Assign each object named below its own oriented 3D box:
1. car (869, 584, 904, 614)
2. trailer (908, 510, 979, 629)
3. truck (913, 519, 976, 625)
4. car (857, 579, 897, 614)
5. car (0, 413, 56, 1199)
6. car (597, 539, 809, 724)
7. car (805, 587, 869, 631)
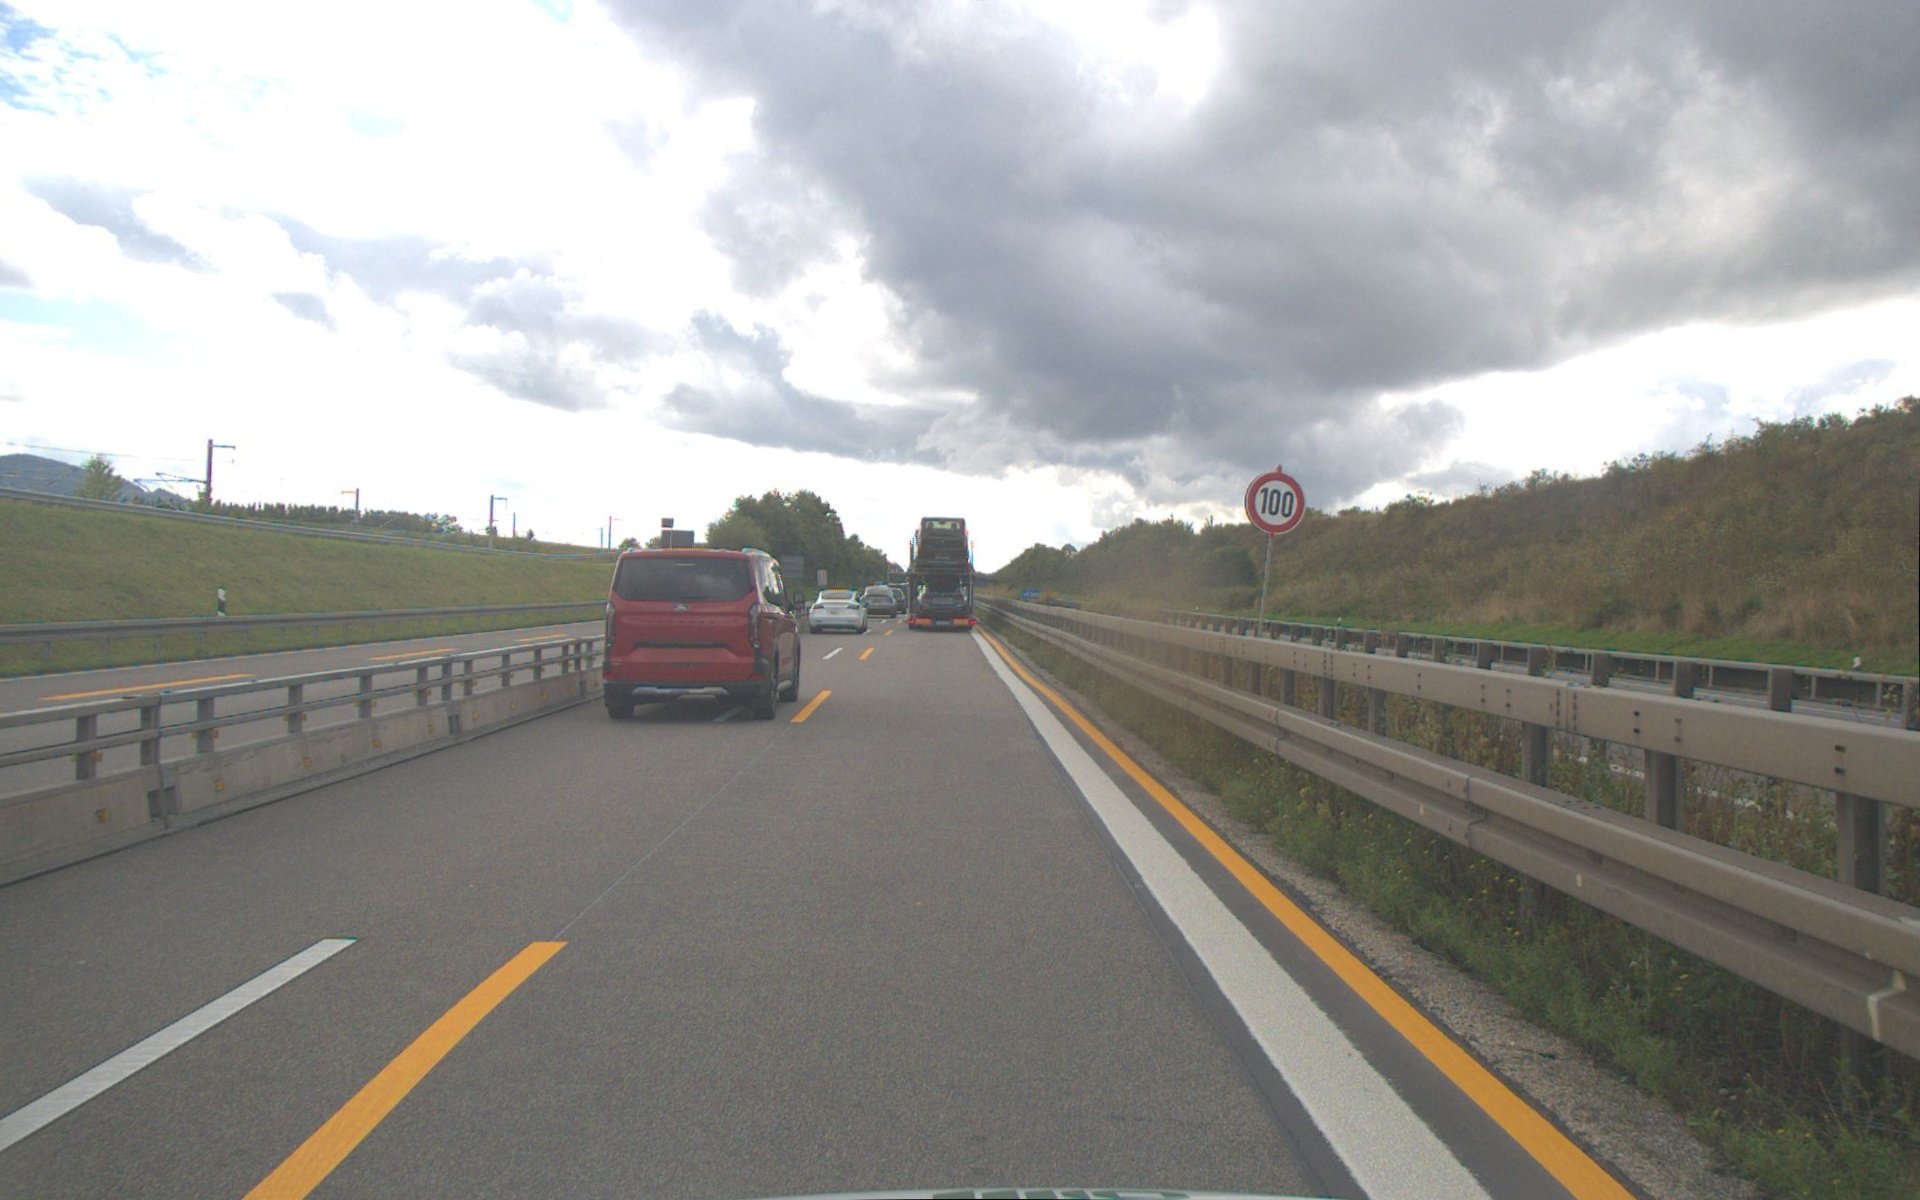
[{"bbox_3d":[-4.382,-0.065,99.027,1.990,1.788,4.576,0,0,-2],"label":"car"},{"bbox_3d":[-0.590,-1.105,63.891,2.464,4.176,11.112,1,0,0],"label":"trailer"},{"bbox_3d":[-0.621,-1.129,68.846,2.464,4.177,5.685,1,0,0],"label":"truck"},{"bbox_3d":[-4.293,-0.185,86.023,1.990,1.788,4.576,0,0,-2],"label":"car"},{"bbox_3d":[-3.098,0.536,1.121,1.953,1.875,5.608,0,0,-1],"label":"car"},{"bbox_3d":[-3.072,0.334,20.692,1.990,2.049,4.577,0,0,-1],"label":"car"},{"bbox_3d":[-4.171,0.275,56.701,1.990,1.455,4.576,0,0,-2],"label":"car"}]
